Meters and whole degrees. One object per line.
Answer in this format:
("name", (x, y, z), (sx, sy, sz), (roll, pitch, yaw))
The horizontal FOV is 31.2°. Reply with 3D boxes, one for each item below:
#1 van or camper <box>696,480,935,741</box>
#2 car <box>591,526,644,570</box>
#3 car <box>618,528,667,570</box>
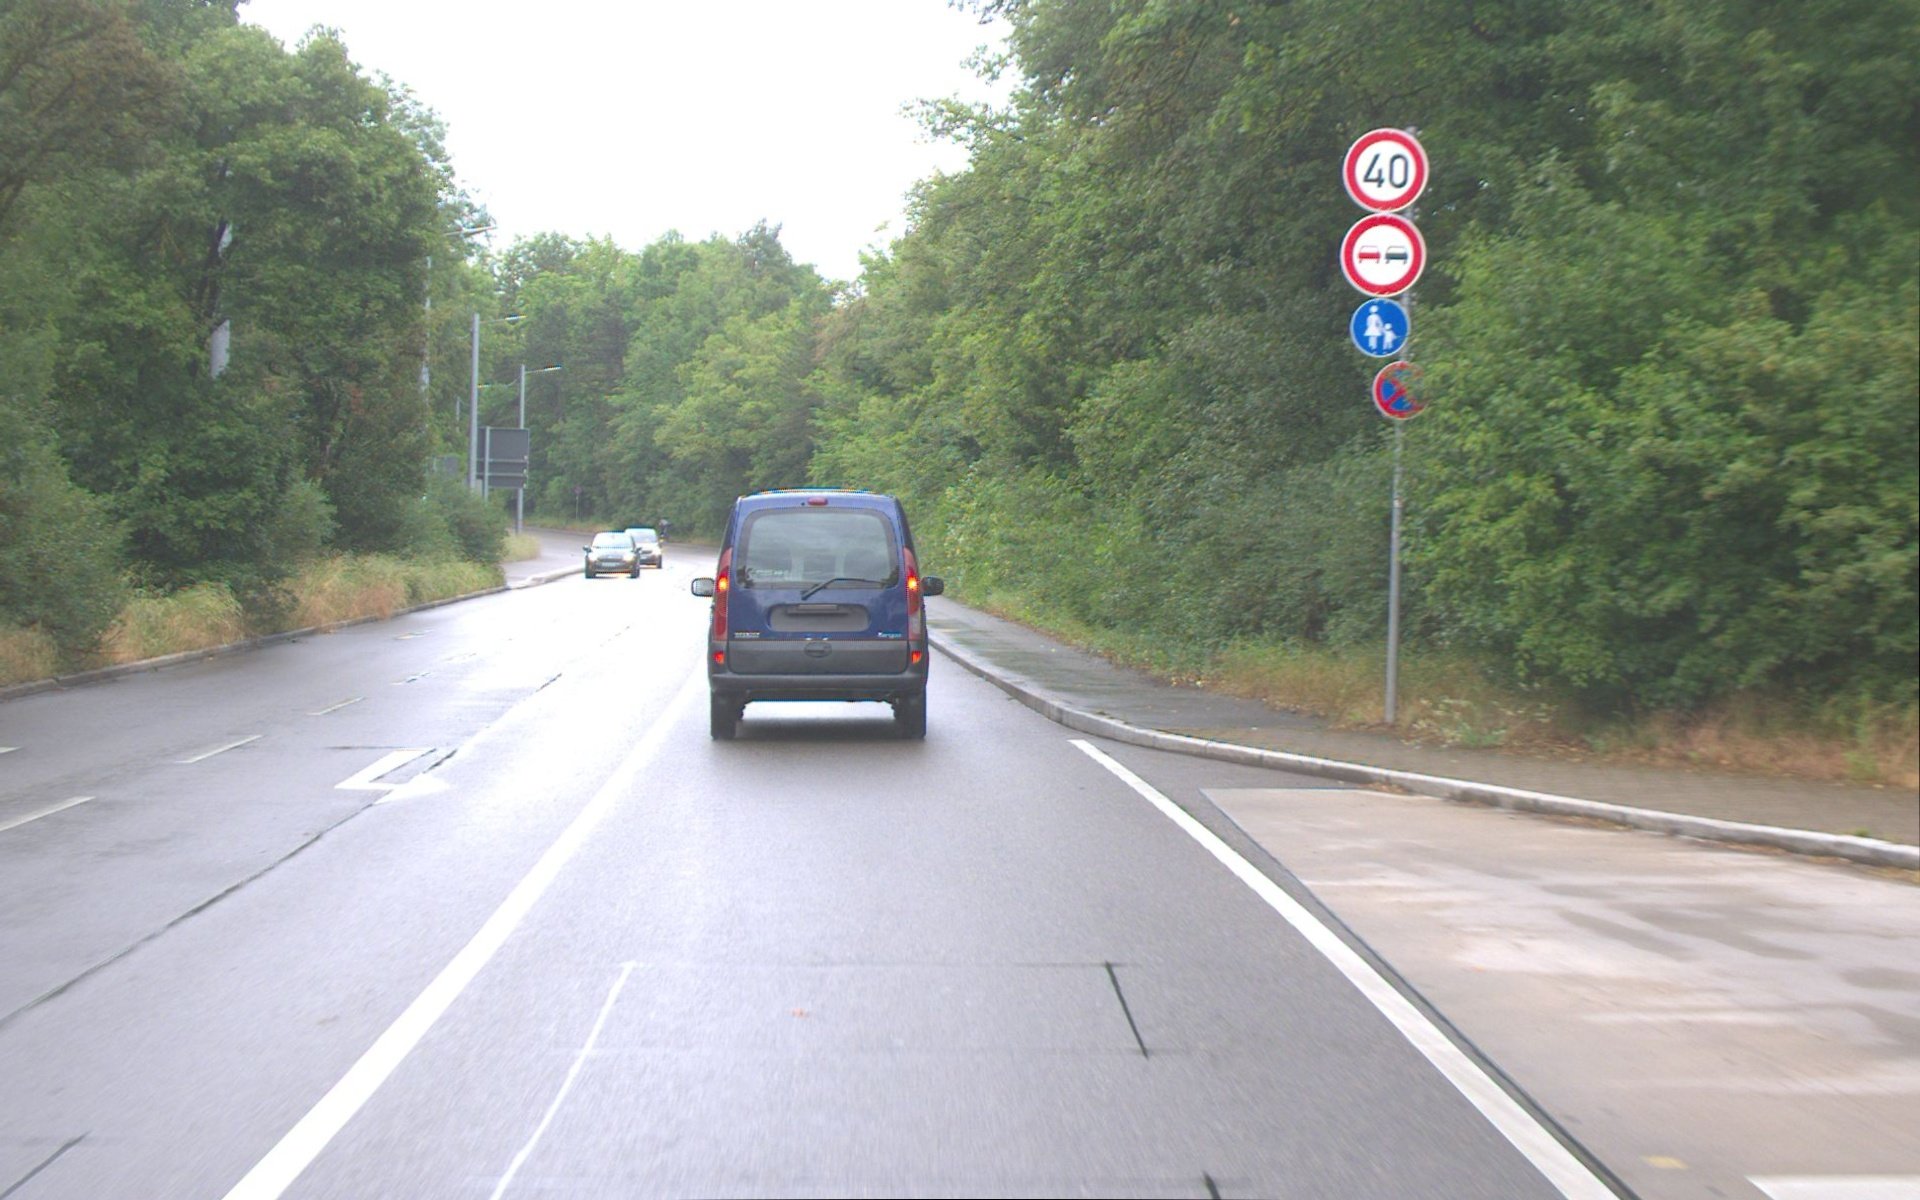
("van or camper", (-1.091, 0.008, 26.645), (1.712, 1.819, 4.001), (0, 3, -1))
("car", (-11.308, -1.733, 113.743), (1.598, 1.436, 3.991), (0, 1, -4))
("car", (-12.711, -2.058, 137.762), (1.771, 1.605, 4.084), (1, 1, -3))
